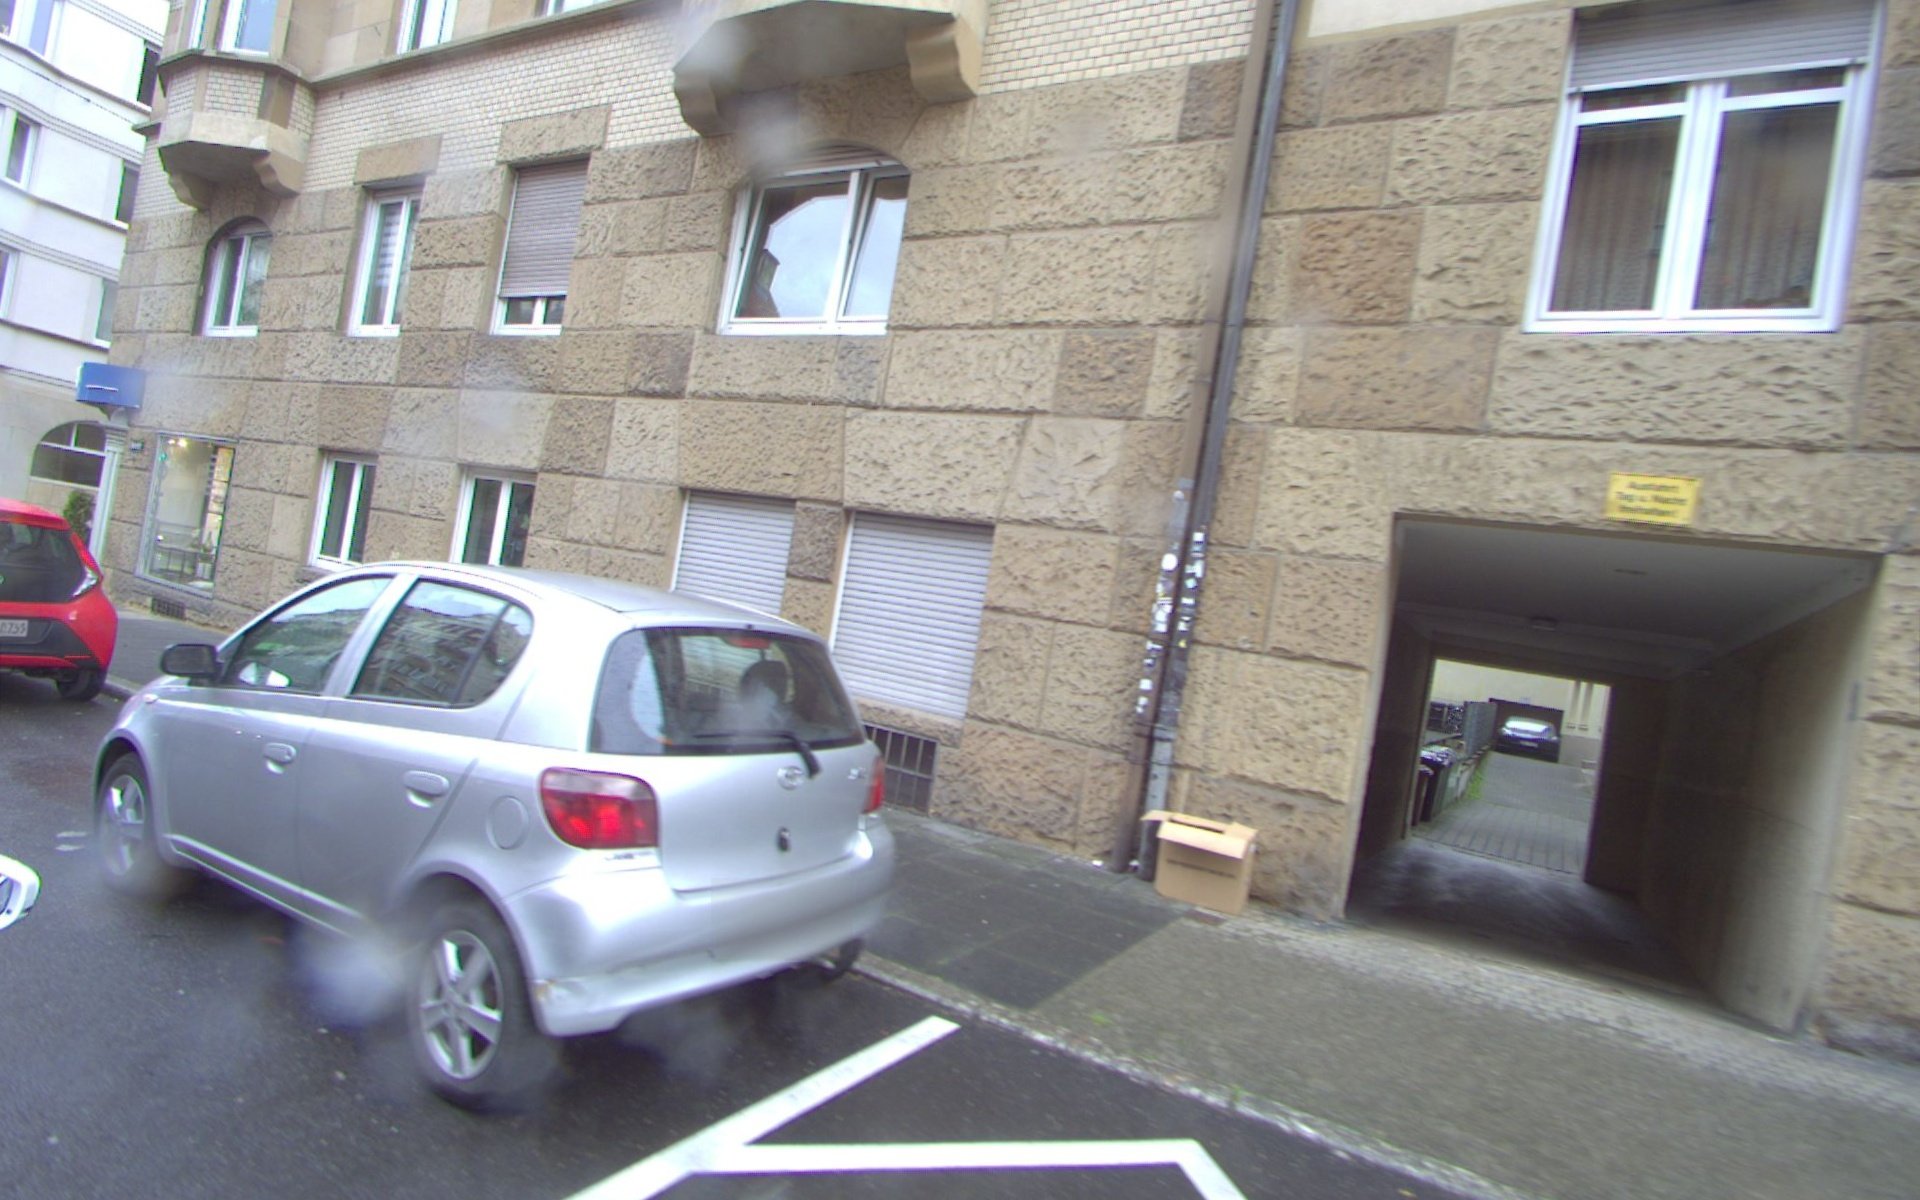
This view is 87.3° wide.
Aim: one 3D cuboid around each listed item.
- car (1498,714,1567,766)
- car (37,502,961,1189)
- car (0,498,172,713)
[{"bbox_3d":[18.995,4.604,33.494,1.764,1.362,4.014,6,-2,28],"label":"car"},{"bbox_3d":[-1.955,0.576,4.030,3.464,1.504,1.597,7,-1,32],"label":"car"},{"bbox_3d":[-8.081,-0.134,7.844,3.472,1.469,1.710,7,-3,29],"label":"car"}]
